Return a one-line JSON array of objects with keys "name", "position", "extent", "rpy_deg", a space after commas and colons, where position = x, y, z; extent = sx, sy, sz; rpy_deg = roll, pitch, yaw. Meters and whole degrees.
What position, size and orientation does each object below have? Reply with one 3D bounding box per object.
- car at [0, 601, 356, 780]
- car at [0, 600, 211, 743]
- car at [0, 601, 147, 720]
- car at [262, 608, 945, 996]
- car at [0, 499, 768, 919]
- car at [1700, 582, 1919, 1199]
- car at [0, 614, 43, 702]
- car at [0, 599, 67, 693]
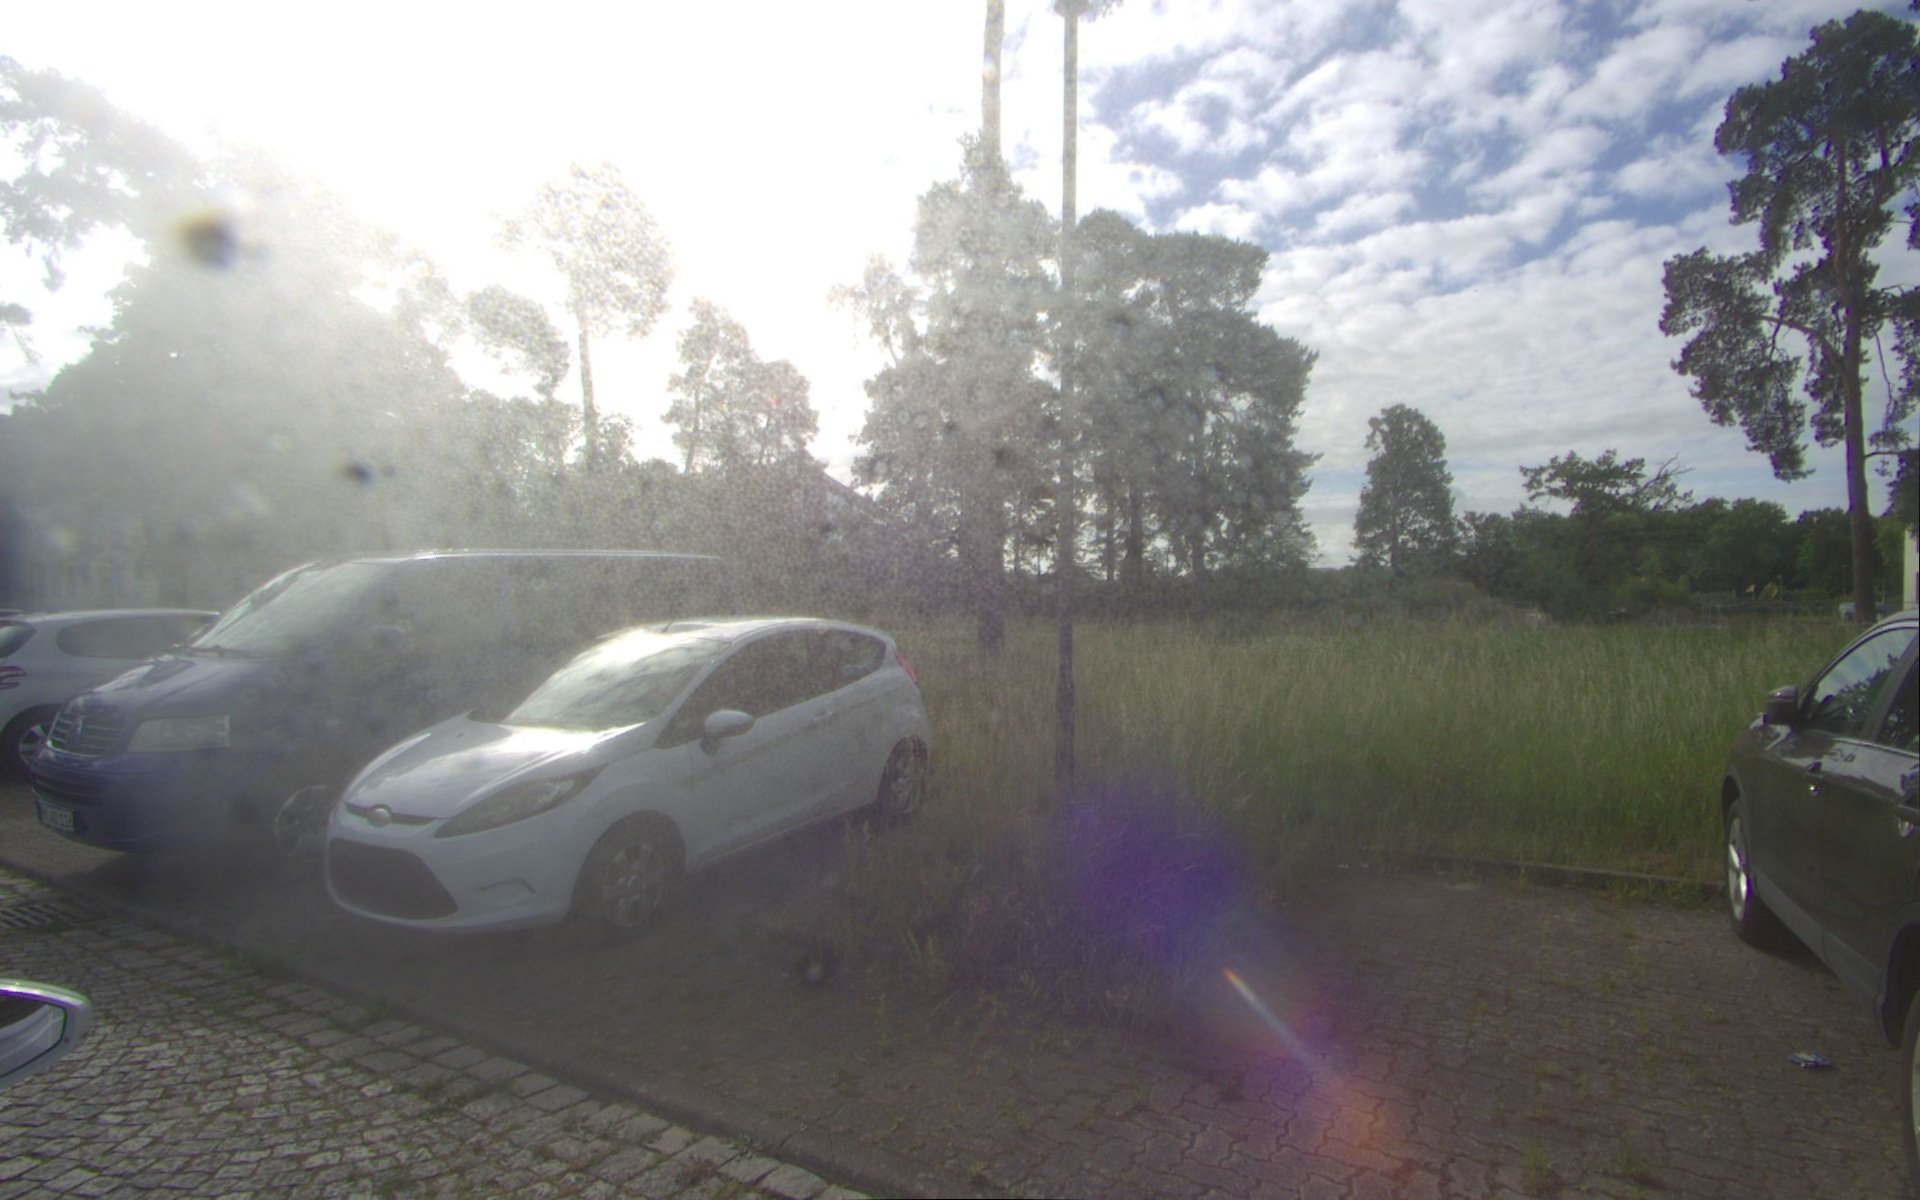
[{"name": "car", "position": [-8.243, 0.782, 10.136], "extent": [1.638, 1.524, 3.289], "rpy_deg": [1, 0, 29]}, {"name": "car", "position": [-10.927, 0.767, 11.364], "extent": [1.635, 1.526, 3.602], "rpy_deg": [1, 0, 20]}, {"name": "car", "position": [-13.106, 0.777, 13.249], "extent": [1.635, 1.524, 3.296], "rpy_deg": [1, 0, 20]}, {"name": "car", "position": [-1.701, 0.820, 5.989], "extent": [1.629, 1.443, 3.718], "rpy_deg": [1, 1, 28]}, {"name": "car", "position": [-3.666, 0.558, 7.433], "extent": [1.712, 2.067, 4.776], "rpy_deg": [1, 0, 30]}, {"name": "car", "position": [3.639, 0.778, 3.034], "extent": [1.735, 1.601, 3.946], "rpy_deg": [1, 0, 29]}, {"name": "car", "position": [-15.584, 0.864, 14.318], "extent": [1.637, 1.284, 3.292], "rpy_deg": [1, 0, 25]}, {"name": "car", "position": [-17.155, 0.742, 16.005], "extent": [1.637, 1.564, 3.987], "rpy_deg": [1, 0, 25]}]
